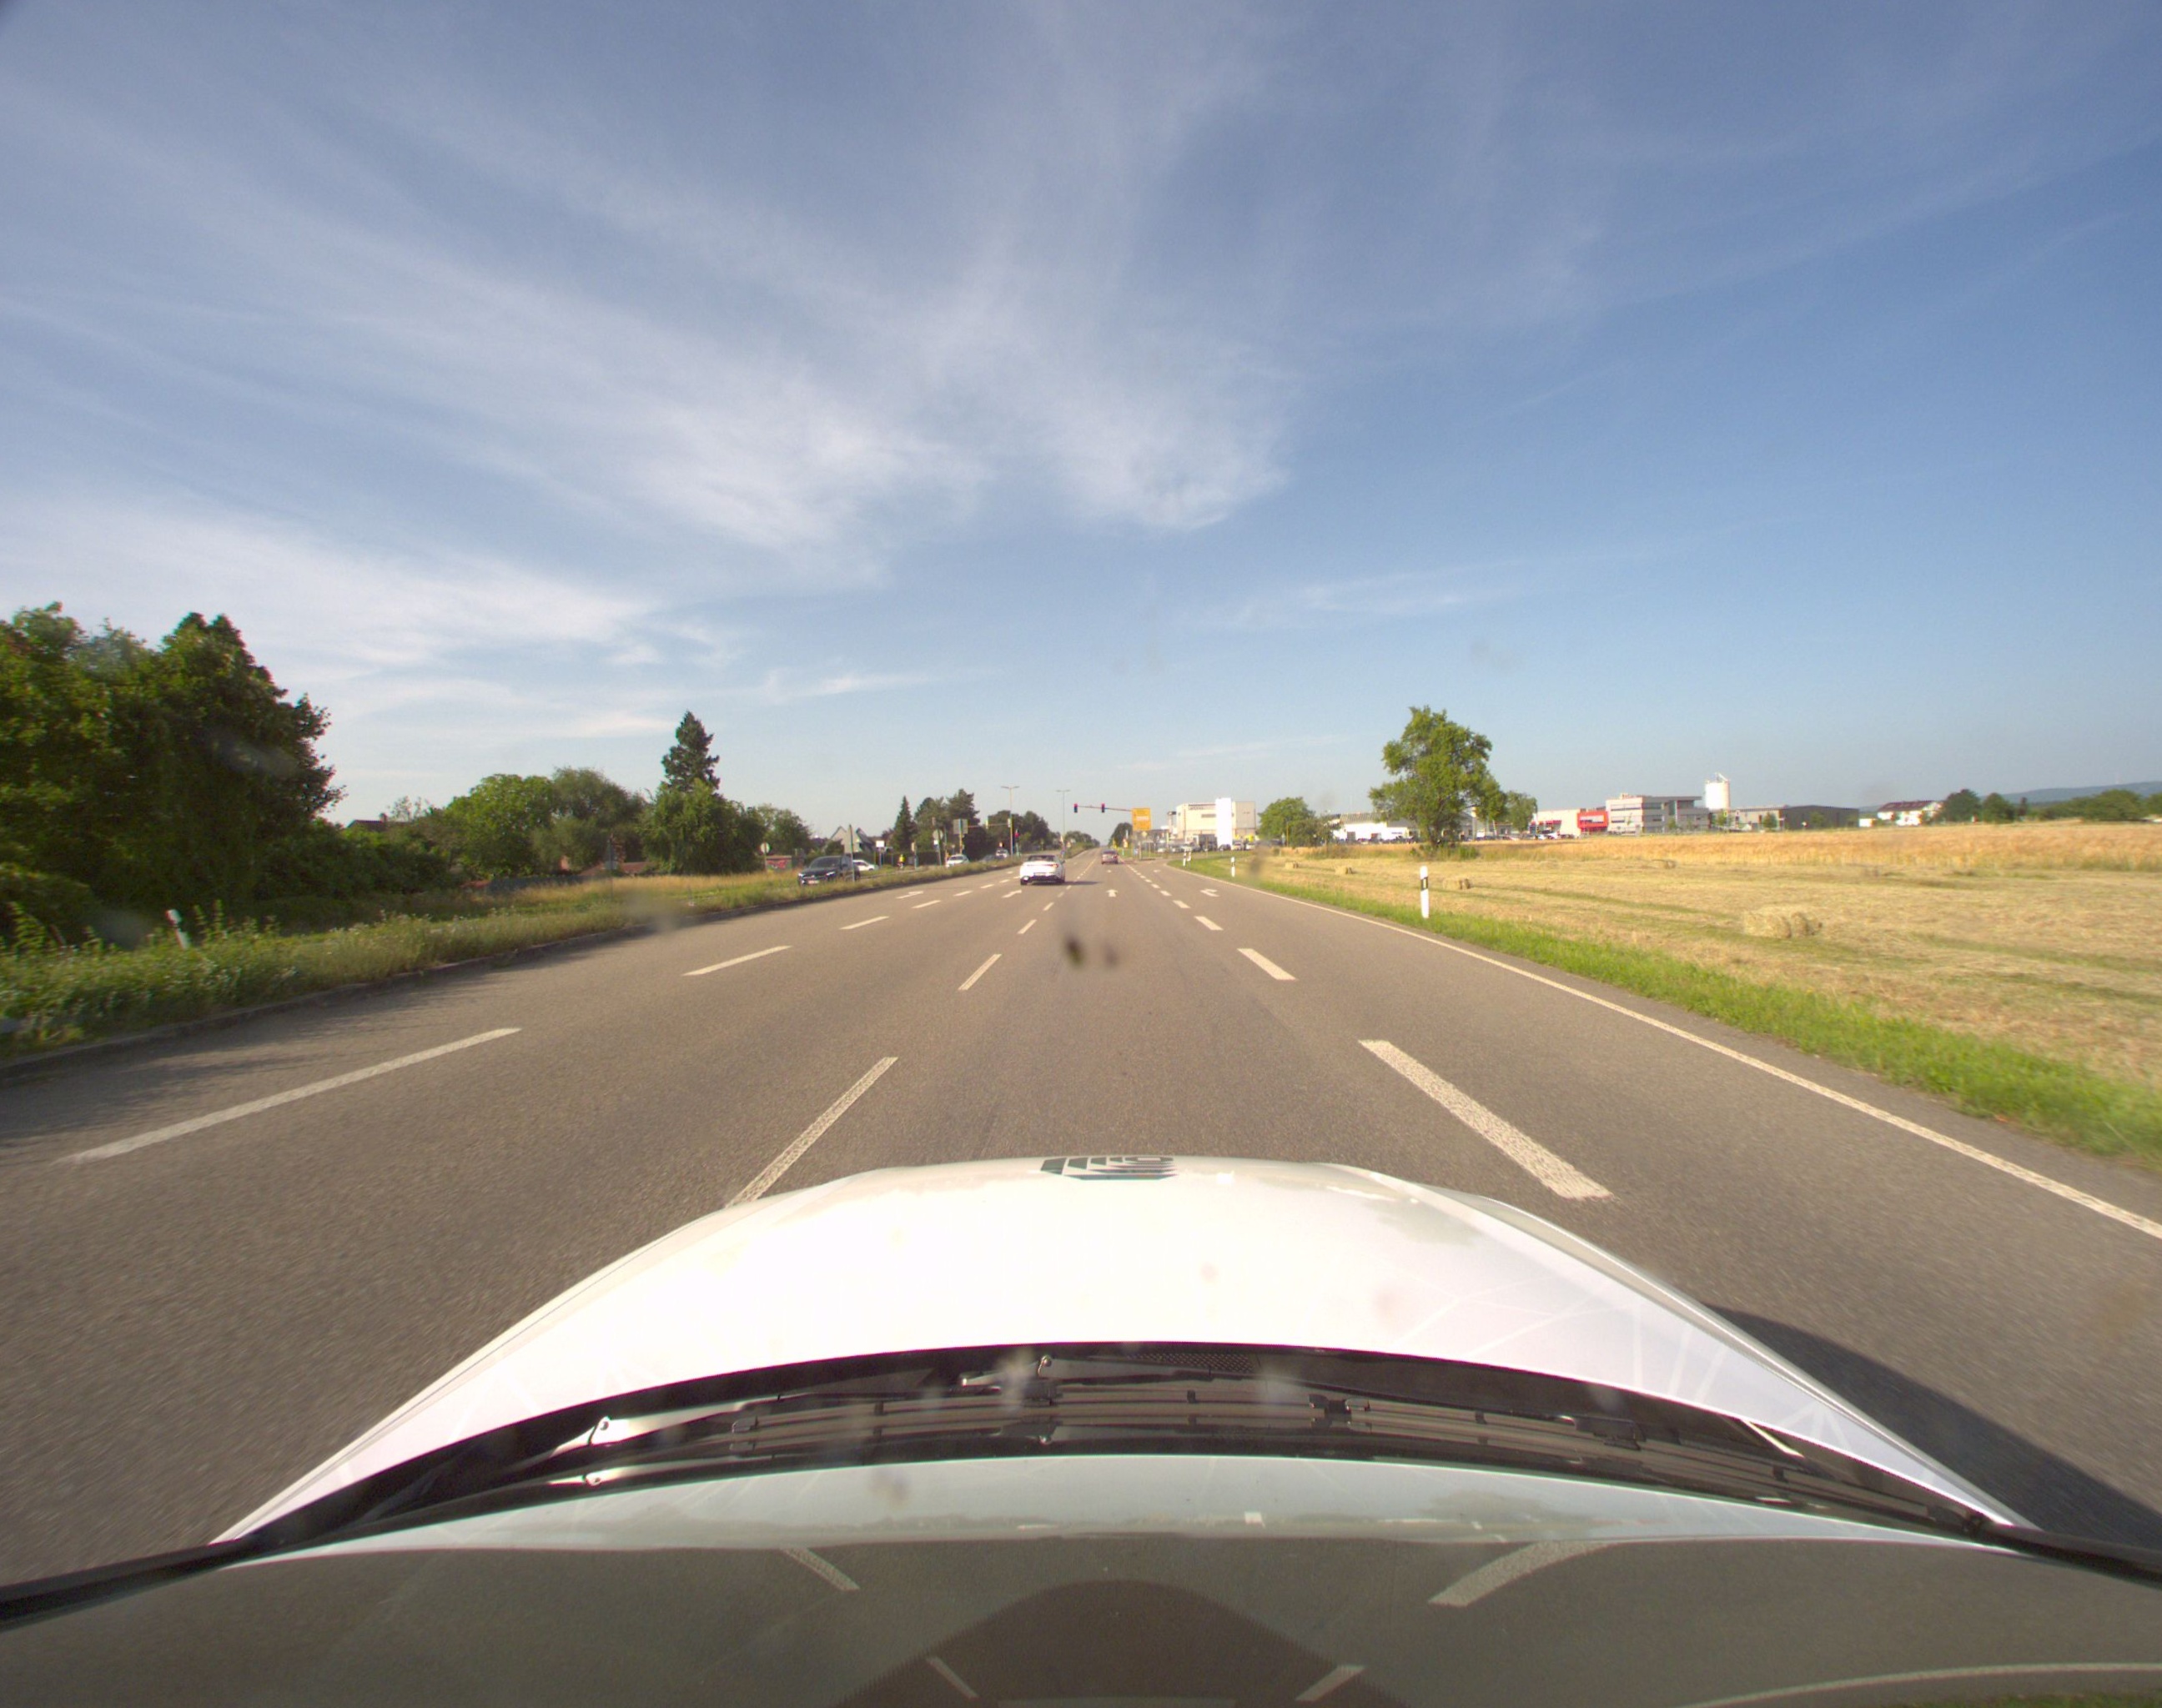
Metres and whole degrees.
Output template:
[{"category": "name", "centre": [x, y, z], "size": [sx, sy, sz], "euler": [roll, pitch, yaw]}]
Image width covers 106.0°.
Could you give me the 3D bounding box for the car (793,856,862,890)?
[{"category": "car", "centre": [-11.521, 0.826, 37.234], "size": [1.722, 1.407, 4.003], "euler": [-1, 1, 2]}]

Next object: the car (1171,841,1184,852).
[{"category": "car", "centre": [18.068, -1.440, 152.695], "size": [1.985, 2.013, 4.003], "euler": [-1, 1, 3]}]

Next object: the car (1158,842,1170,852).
[{"category": "car", "centre": [16.066, -1.352, 158.057], "size": [1.985, 1.778, 4.003], "euler": [-1, 1, 3]}]

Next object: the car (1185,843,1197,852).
[{"category": "car", "centre": [20.578, -1.297, 152.823], "size": [1.985, 1.644, 4.003], "euler": [-1, 1, 3]}]

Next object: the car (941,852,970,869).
[{"category": "car", "centre": [-11.320, 0.599, 73.718], "size": [1.986, 1.398, 4.001], "euler": [-1, 1, 1]}]

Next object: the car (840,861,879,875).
[{"category": "car", "centre": [-26.469, 1.689, 97.276], "size": [4.179, 1.522, 1.995], "euler": [-1, 1, -7]}]

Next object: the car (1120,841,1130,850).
[{"category": "car", "centre": [8.580, -1.684, 158.070], "size": [1.985, 1.757, 4.003], "euler": [-1, 1, 3]}]

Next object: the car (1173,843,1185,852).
[{"category": "car", "centre": [18.951, -1.304, 157.259], "size": [1.985, 1.778, 4.003], "euler": [-1, 1, 3]}]

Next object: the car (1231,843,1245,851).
[{"category": "car", "centre": [29.619, -1.244, 153.526], "size": [1.985, 1.442, 4.003], "euler": [-1, 1, 3]}]

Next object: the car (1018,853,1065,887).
[{"category": "car", "centre": [-1.753, 0.682, 37.341], "size": [1.903, 1.422, 4.001], "euler": [-1, 1, 1]}]

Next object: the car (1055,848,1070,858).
[{"category": "car", "centre": [-2.670, -0.171, 119.543], "size": [1.940, 1.407, 4.003], "euler": [-1, 1, 2]}]

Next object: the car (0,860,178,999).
[{"category": "car", "centre": [-12.844, 0.863, 8.524], "size": [1.986, 1.486, 4.228], "euler": [-1, 1, 1]}]

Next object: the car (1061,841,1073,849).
[{"category": "car", "centre": [-2.446, -1.576, 144.074], "size": [1.940, 1.407, 4.003], "euler": [-1, 1, 2]}]

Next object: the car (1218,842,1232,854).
[{"category": "car", "centre": [26.053, -1.113, 147.486], "size": [1.985, 2.013, 4.003], "euler": [-1, 1, 3]}]

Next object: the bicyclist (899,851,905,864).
[{"category": "bicyclist", "centre": [-19.611, 0.380, 89.277], "size": [0.454, 1.352, 0.552], "euler": [-3, 0, -2]}]

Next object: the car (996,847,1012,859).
[{"category": "car", "centre": [-11.887, -0.147, 126.500], "size": [1.940, 1.800, 4.003], "euler": [-1, 1, 2]}]

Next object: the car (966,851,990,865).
[{"category": "car", "centre": [-11.222, 0.427, 88.803], "size": [1.986, 1.486, 4.001], "euler": [-1, 1, 1]}]

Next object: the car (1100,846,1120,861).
[{"category": "car", "centre": [2.963, -0.063, 84.419], "size": [1.986, 1.486, 4.001], "euler": [-1, 1, 1]}]

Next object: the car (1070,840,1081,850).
[{"category": "car", "centre": [-1.067, -1.756, 158.317], "size": [1.940, 1.772, 4.003], "euler": [-1, 1, 2]}]

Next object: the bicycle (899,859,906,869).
[{"category": "bicycle", "centre": [-19.608, 1.051, 89.255], "size": [0.406, 1.015, 1.603], "euler": [-3, 1, -1]}]

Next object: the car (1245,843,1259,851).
[{"category": "car", "centre": [32.161, -1.280, 153.680], "size": [1.985, 1.398, 4.003], "euler": [-1, 1, 3]}]

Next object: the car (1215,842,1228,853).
[{"category": "car", "centre": [26.447, -1.206, 153.809], "size": [1.985, 2.013, 4.003], "euler": [-1, 1, 3]}]

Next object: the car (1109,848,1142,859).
[{"category": "car", "centre": [5.913, -0.101, 108.014], "size": [3.998, 1.407, 1.942], "euler": [-1, 1, -18]}]
